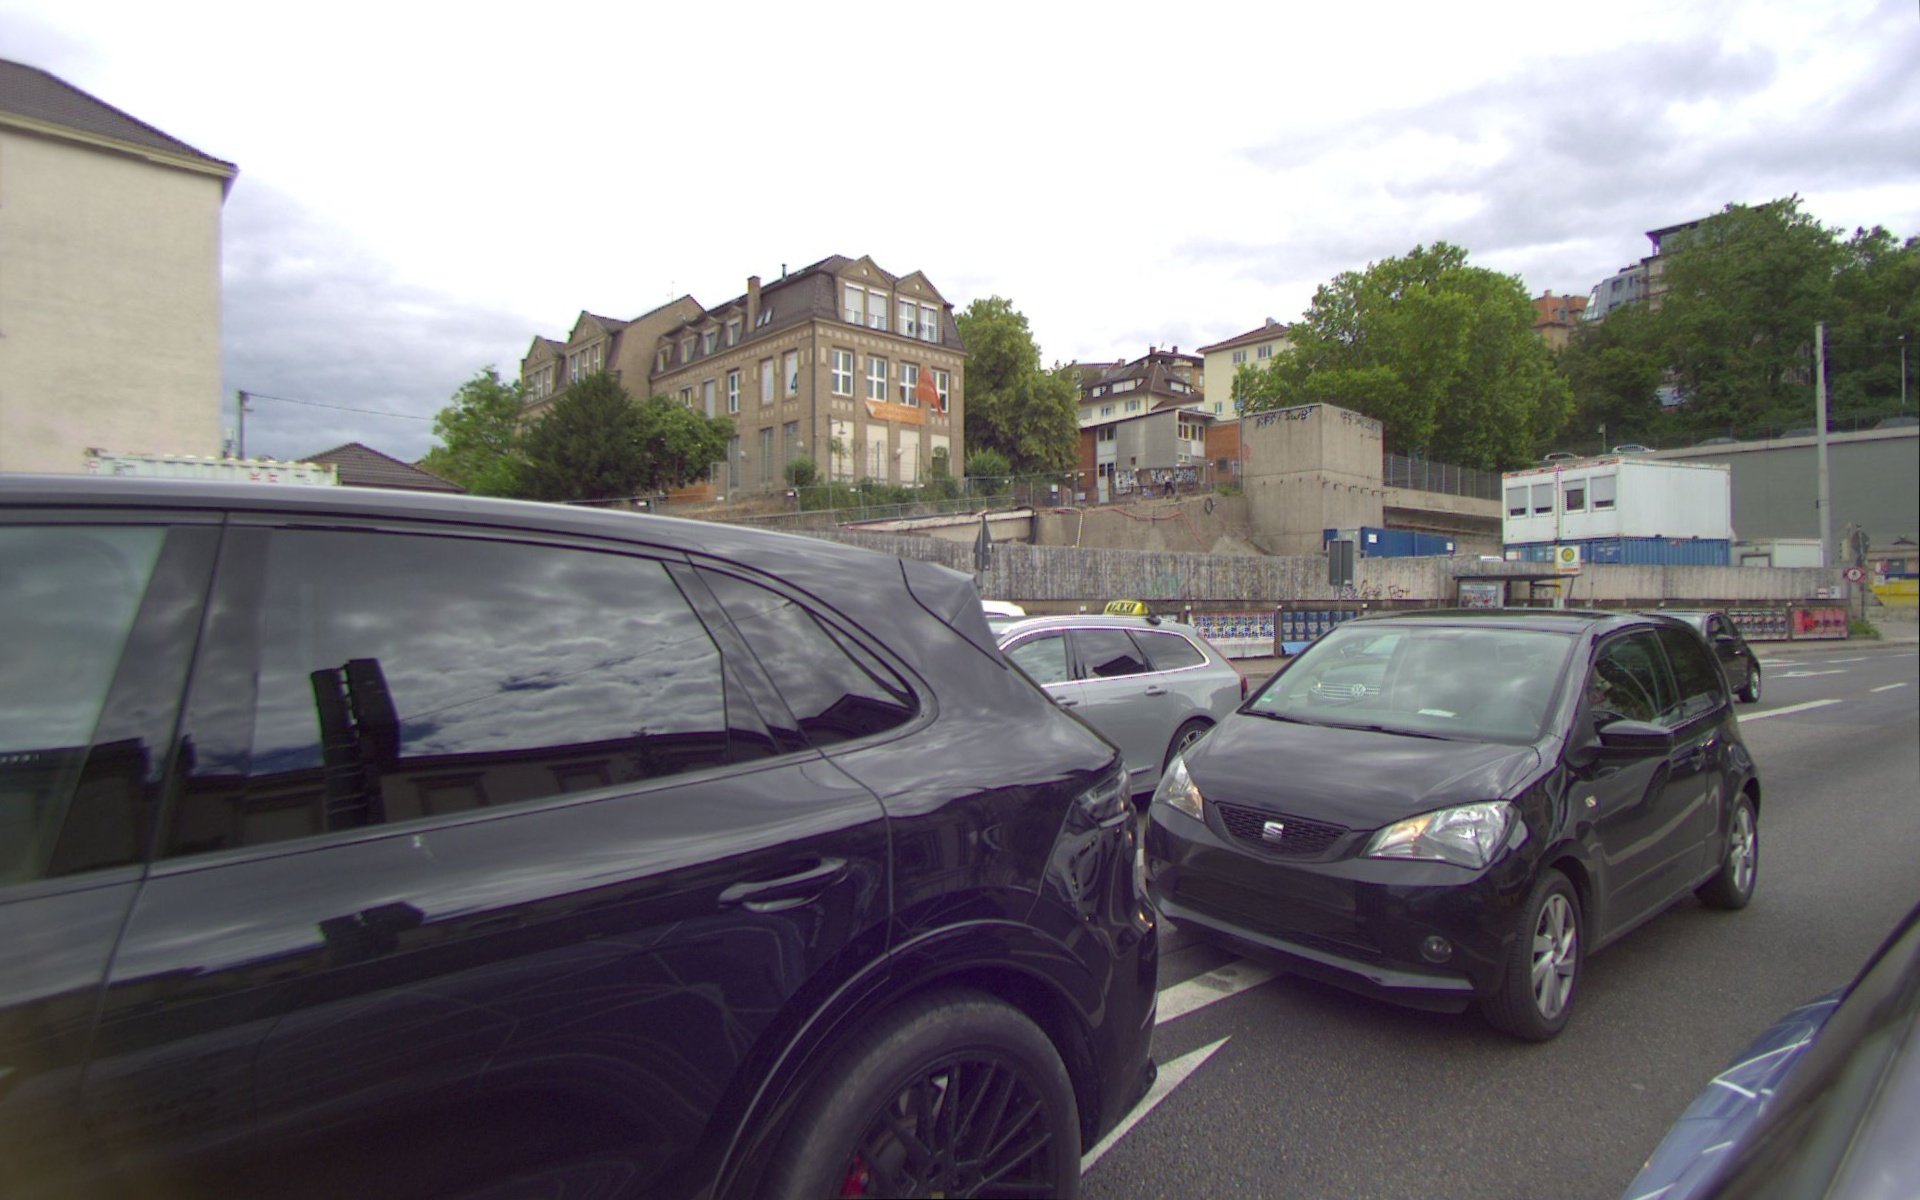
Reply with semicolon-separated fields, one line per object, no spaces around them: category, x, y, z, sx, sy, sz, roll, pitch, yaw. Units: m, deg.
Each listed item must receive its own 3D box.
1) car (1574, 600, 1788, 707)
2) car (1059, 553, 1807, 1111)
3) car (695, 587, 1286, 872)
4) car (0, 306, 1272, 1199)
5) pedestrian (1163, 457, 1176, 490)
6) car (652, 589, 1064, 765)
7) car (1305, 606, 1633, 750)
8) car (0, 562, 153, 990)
car;11.378;0.771;15.903;3.711;1.478;1.721;1;-2;-38
car;2.415;0.632;4.725;3.841;1.575;1.661;-1;0;-39
car;0.402;0.658;7.346;4.142;1.484;1.825;-1;0;-40
car;-1.654;0.557;1.672;4.497;1.689;1.998;-1;0;-39
pedestrian;12.250;-7.397;59.156;0.559;1.817;0.554;0;0;-38
car;-0.937;0.634;10.609;4.004;1.484;1.824;-1;0;-42
car;6.026;0.770;11.812;4.139;1.381;1.827;1;0;-38
car;-5.059;0.637;3.462;3.581;1.529;1.826;-1;0;-39
